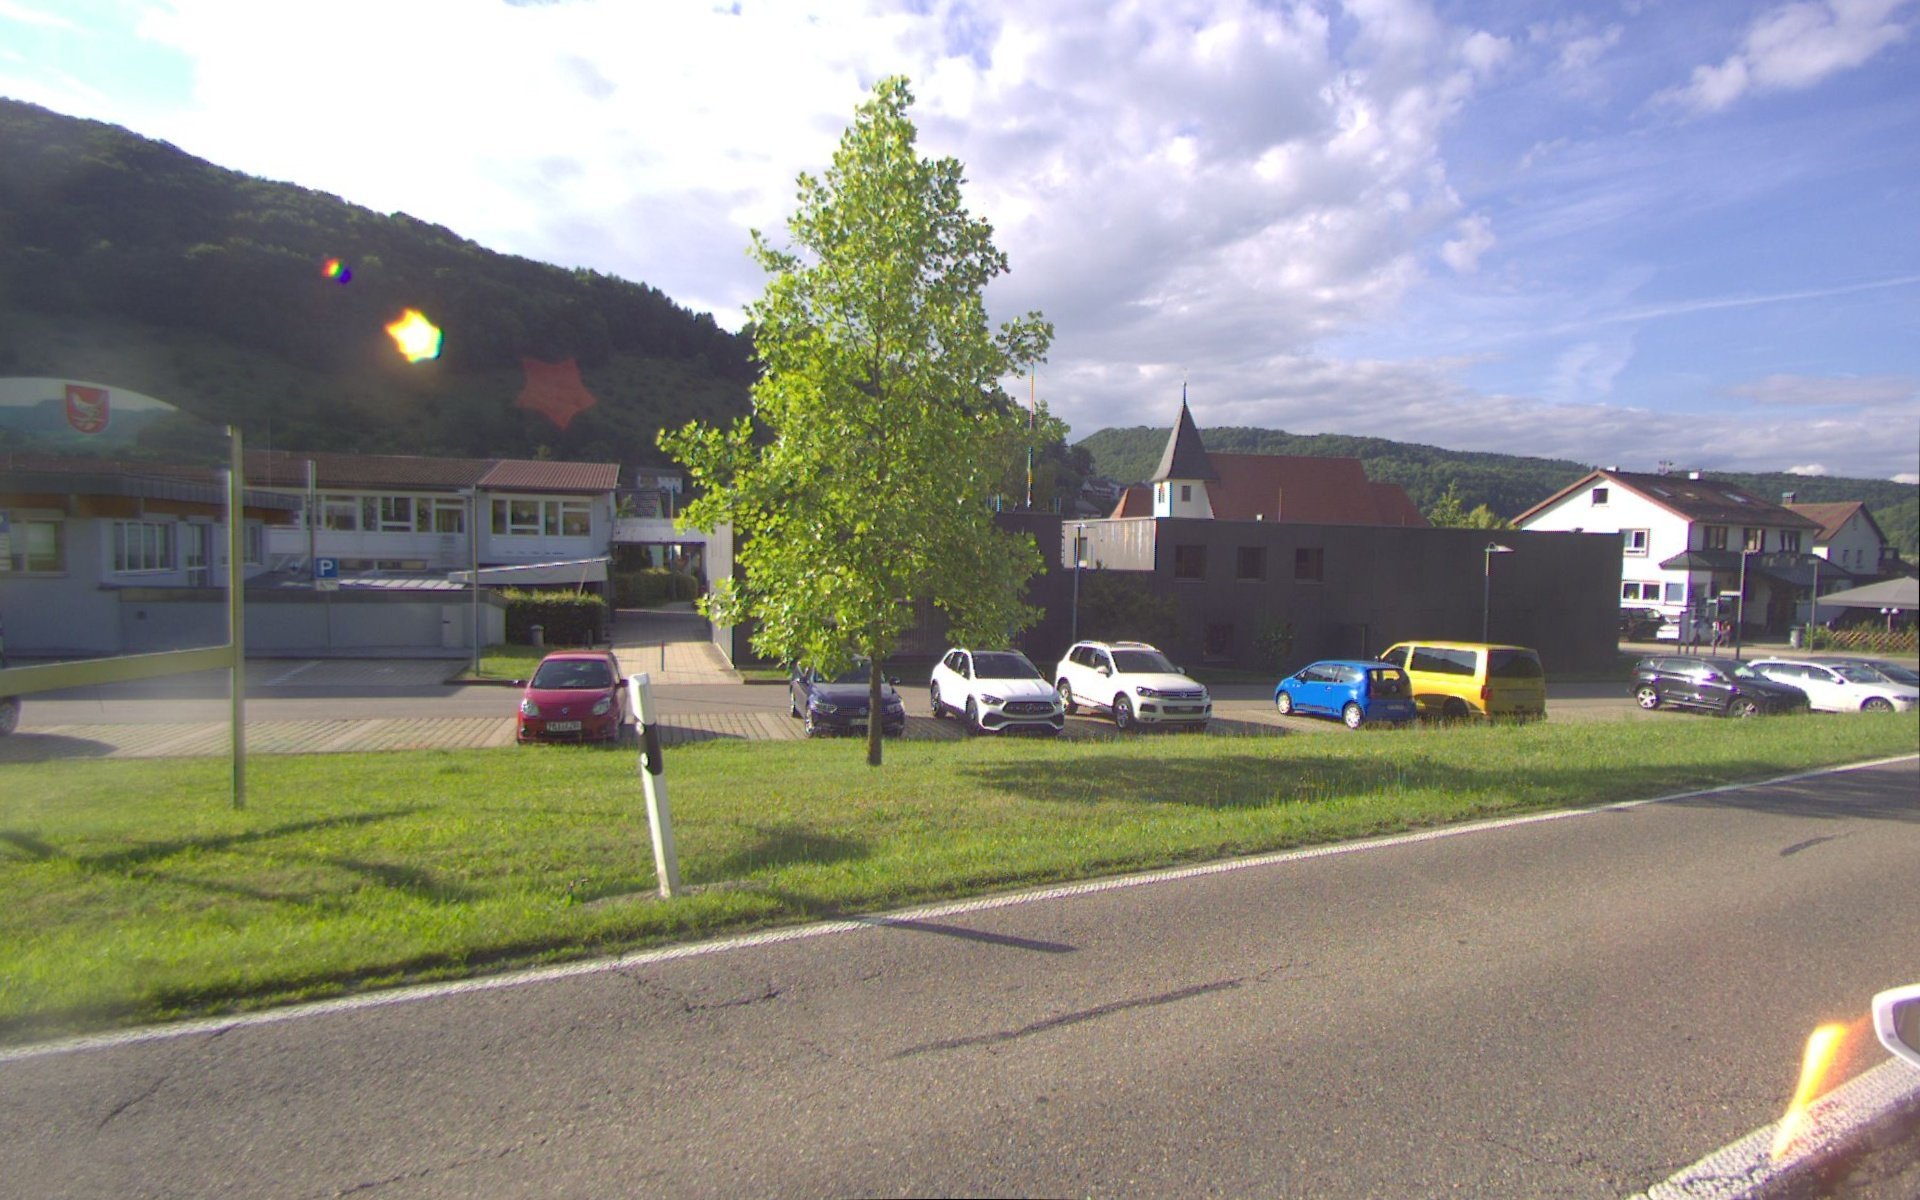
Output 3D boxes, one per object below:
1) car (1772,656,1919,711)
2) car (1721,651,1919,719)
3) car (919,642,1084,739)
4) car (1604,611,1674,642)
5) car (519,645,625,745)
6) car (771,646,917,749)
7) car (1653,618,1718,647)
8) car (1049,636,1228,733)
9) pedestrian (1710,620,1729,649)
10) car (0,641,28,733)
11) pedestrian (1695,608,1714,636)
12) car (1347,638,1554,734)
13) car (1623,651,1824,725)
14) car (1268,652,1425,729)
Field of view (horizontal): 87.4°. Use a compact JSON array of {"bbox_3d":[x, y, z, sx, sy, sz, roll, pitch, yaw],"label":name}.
[{"bbox_3d":[27.572,2.514,30.669,1.736,1.327,3.978,2,0,-23],"label":"car"},{"bbox_3d":[25.325,2.408,29.250,1.852,1.513,4.809,2,0,-19],"label":"car"},{"bbox_3d":[0.722,1.815,21.224,1.969,1.575,4.534,2,0,-19],"label":"car"},{"bbox_3d":[39.475,1.550,58.398,3.955,1.684,1.877,2,0,-31],"label":"car"},{"bbox_3d":[-6.970,1.649,18.317,1.591,1.416,3.717,2,0,-19],"label":"car"},{"bbox_3d":[-2.455,1.847,20.116,1.969,1.575,4.534,2,0,-19],"label":"car"},{"bbox_3d":[40.887,1.843,56.587,3.955,1.469,1.547,2,0,-32],"label":"car"},{"bbox_3d":[3.810,1.788,22.407,1.969,1.725,4.534,2,0,-19],"label":"car"},{"bbox_3d":[41.119,1.848,54.382,0.583,1.523,0.605,2,0,-31],"label":"pedestrian"},{"bbox_3d":[-16.102,1.465,15.067,1.659,1.471,4.001,0,1,-20],"label":"car"},{"bbox_3d":[40.799,1.197,55.024,0.583,1.523,0.605,2,0,-31],"label":"pedestrian"},{"bbox_3d":[11.762,2.003,24.504,1.967,1.893,4.611,2,0,-15],"label":"car"},{"bbox_3d":[21.056,2.382,27.909,1.969,1.659,4.021,2,0,-19],"label":"car"},{"bbox_3d":[9.192,2.114,24.160,1.608,1.492,3.488,2,0,-21],"label":"car"}]
